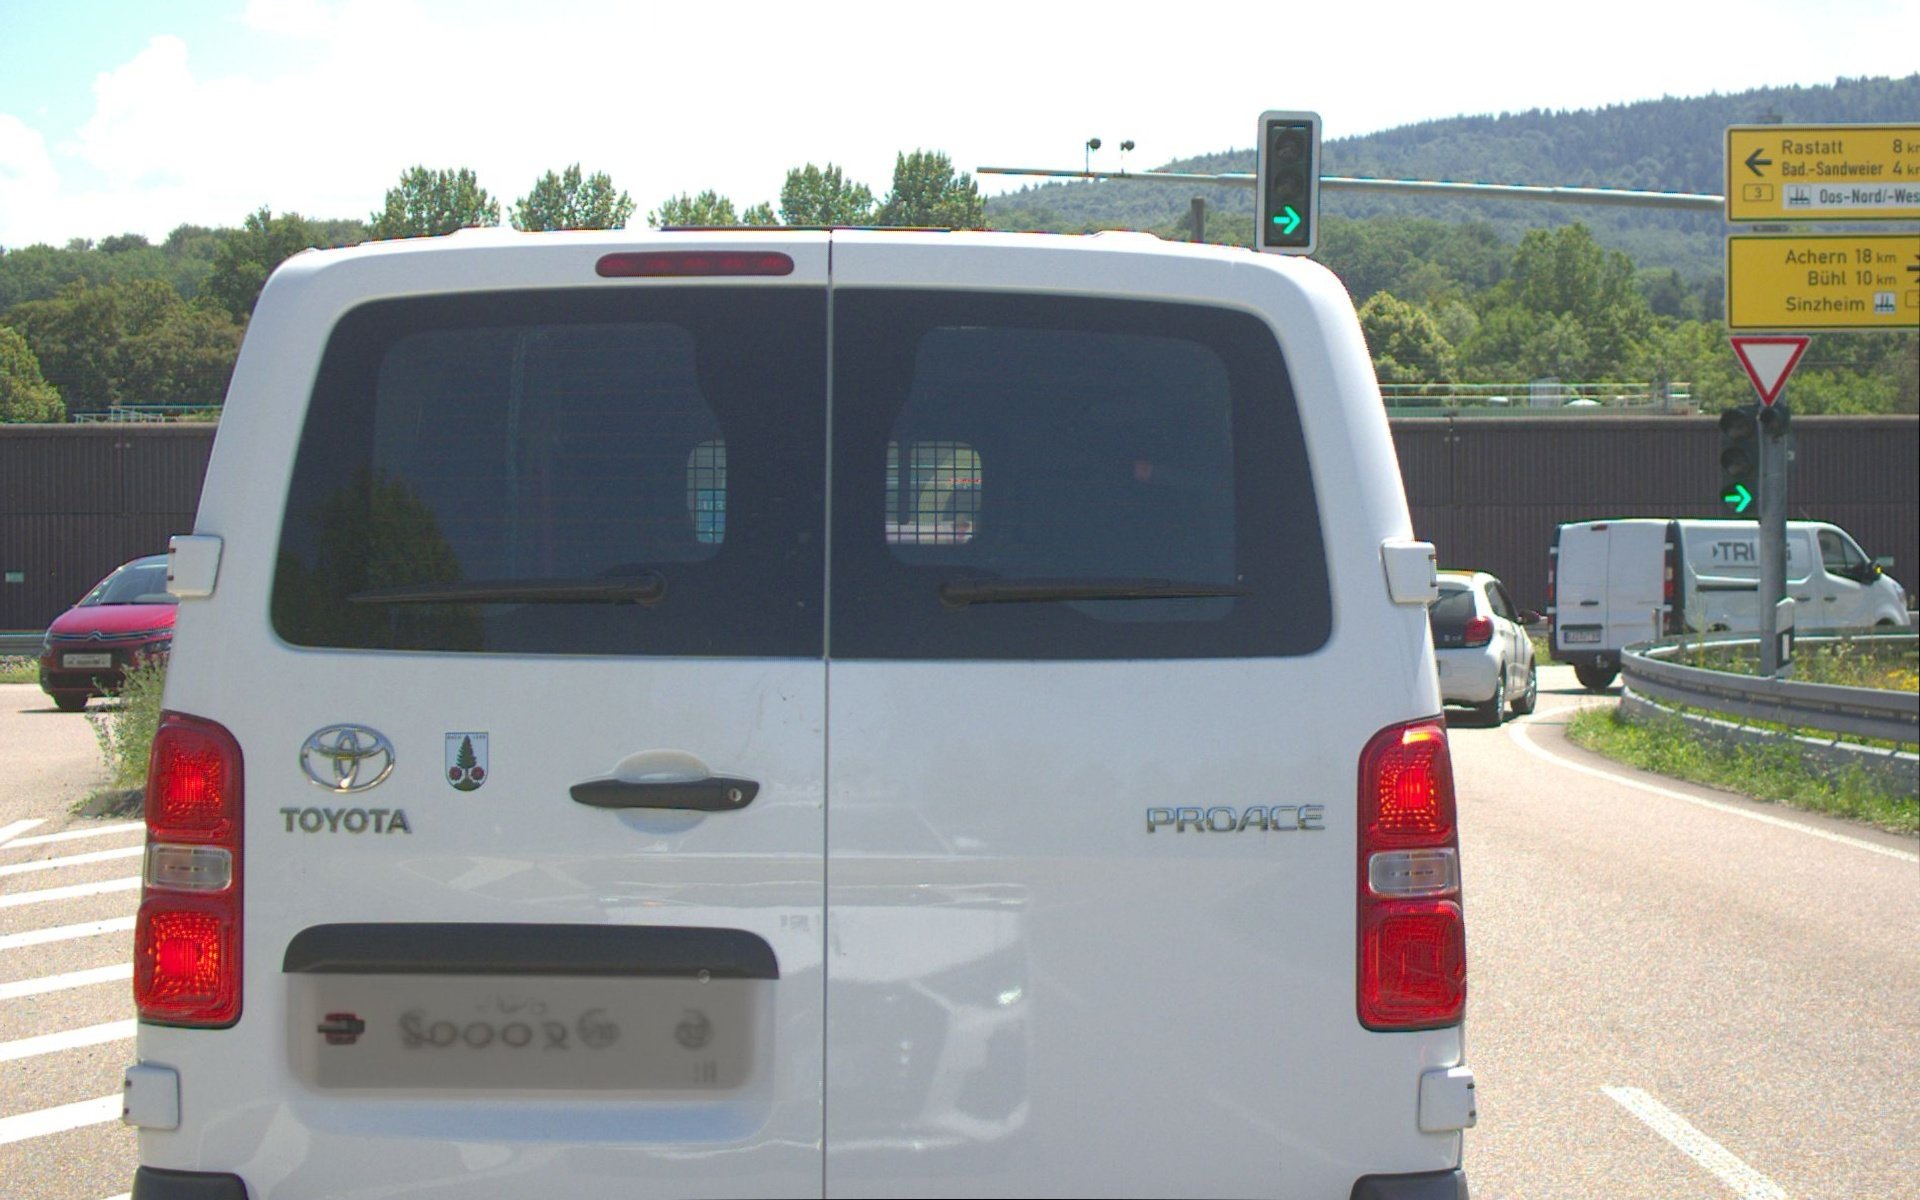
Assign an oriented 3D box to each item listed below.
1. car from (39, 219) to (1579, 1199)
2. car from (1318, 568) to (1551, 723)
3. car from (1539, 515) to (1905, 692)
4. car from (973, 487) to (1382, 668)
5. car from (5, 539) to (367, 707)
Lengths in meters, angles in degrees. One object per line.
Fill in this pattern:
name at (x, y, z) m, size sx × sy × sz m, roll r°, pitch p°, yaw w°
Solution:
car at (-0.229, 0.465, 6.242) m, size 1.886 × 1.880 × 4.000 m, roll 1°, pitch 0°, yaw -1°
car at (4.712, 0.418, 33.841) m, size 1.657 × 1.426 × 3.362 m, roll 1°, pitch 0°, yaw 19°
car at (9.169, 0.030, 41.147) m, size 4.824 × 1.993 × 1.934 m, roll 0°, pitch 1°, yaw -44°
car at (3.003, -0.319, 47.912) m, size 5.343 × 2.442 × 2.040 m, roll 0°, pitch 1°, yaw -12°
car at (-8.070, 0.206, 36.267) m, size 1.995 × 1.651 × 4.321 m, roll 0°, pitch 1°, yaw 14°
